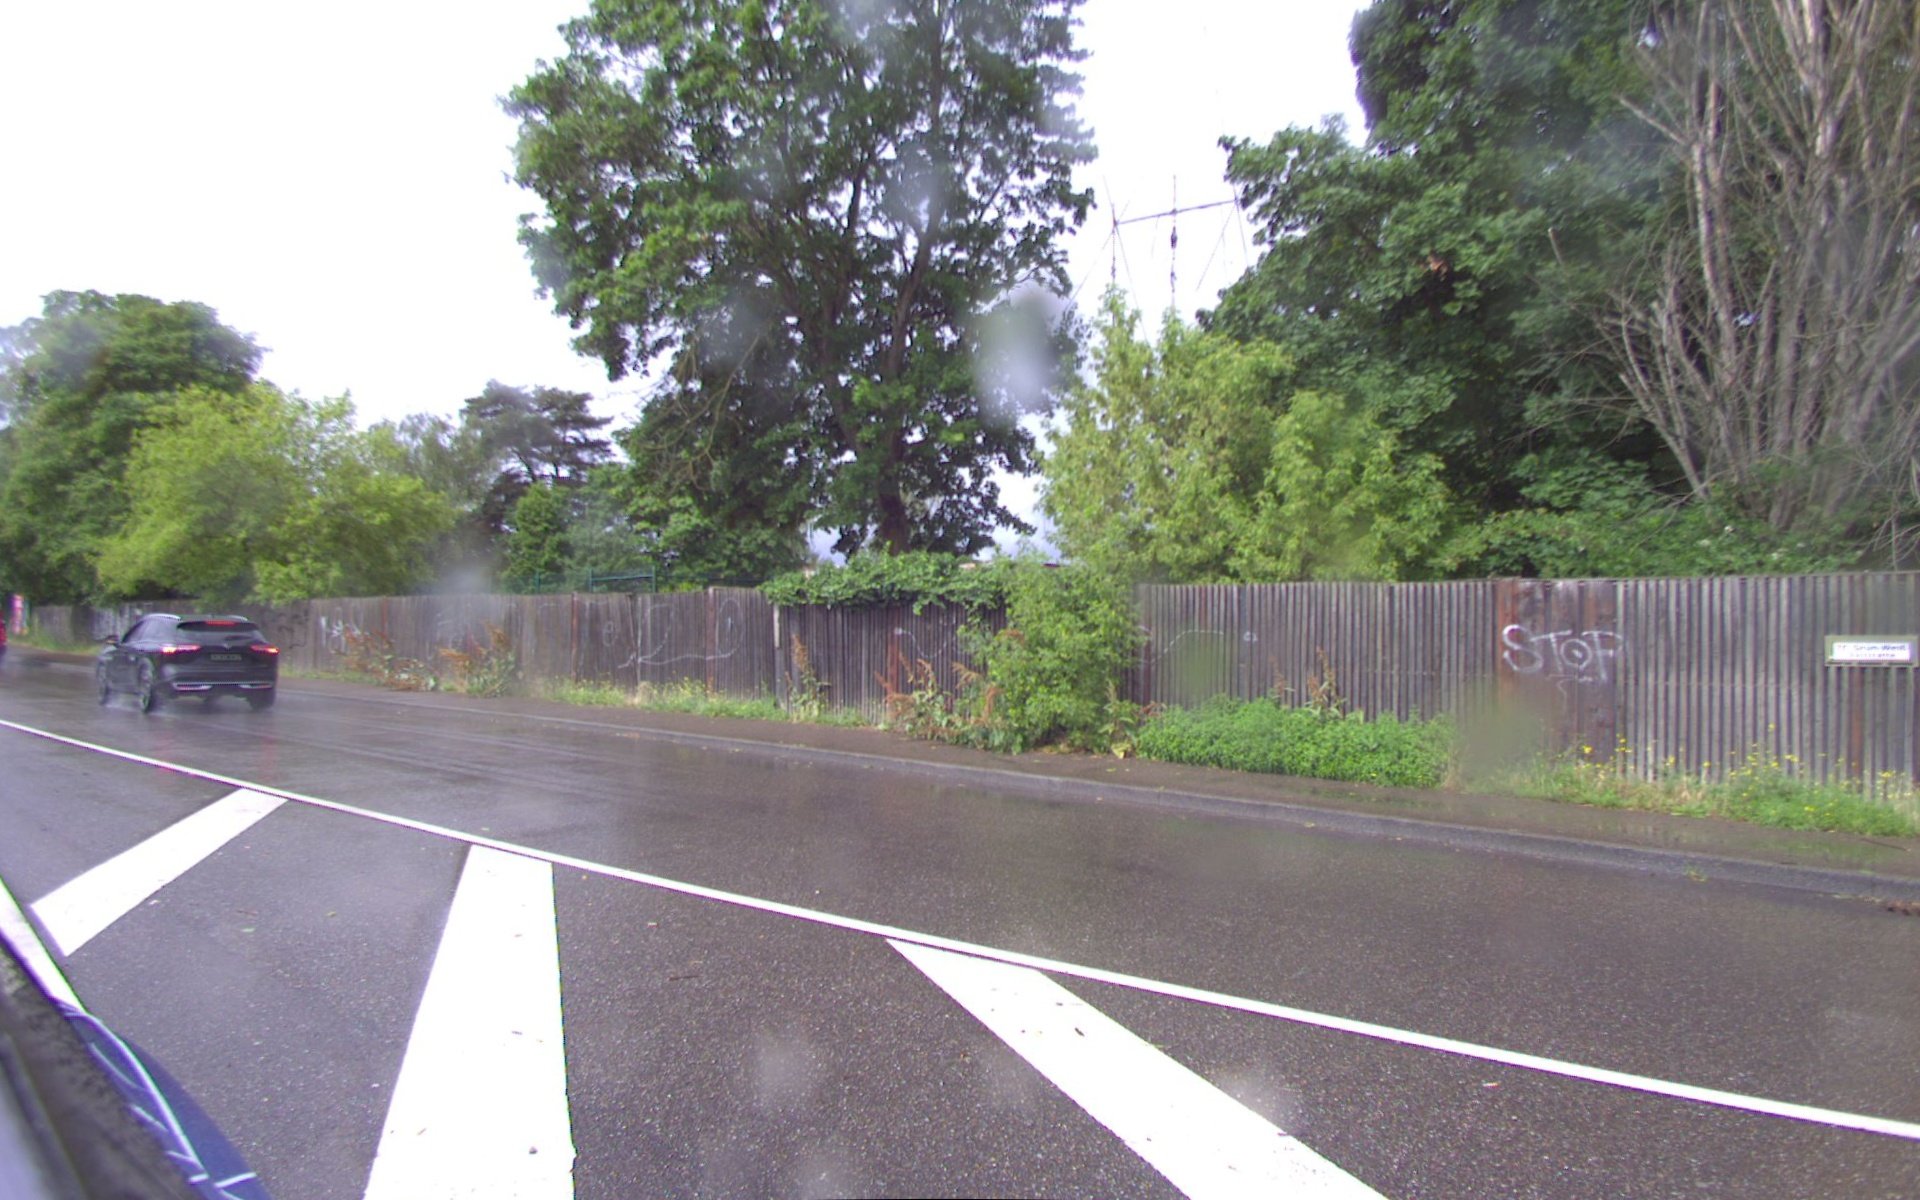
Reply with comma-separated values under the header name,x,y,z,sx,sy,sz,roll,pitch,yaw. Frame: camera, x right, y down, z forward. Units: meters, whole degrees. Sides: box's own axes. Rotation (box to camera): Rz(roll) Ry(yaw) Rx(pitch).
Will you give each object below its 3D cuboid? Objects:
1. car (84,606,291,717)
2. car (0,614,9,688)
name,x,y,z,sx,sy,sz,roll,pitch,yaw
car,-13.525,1.039,17.660,3.993,1.722,1.833,-2,-3,37
car,-32.578,1.615,32.794,3.995,2.352,1.974,-1,-3,39
